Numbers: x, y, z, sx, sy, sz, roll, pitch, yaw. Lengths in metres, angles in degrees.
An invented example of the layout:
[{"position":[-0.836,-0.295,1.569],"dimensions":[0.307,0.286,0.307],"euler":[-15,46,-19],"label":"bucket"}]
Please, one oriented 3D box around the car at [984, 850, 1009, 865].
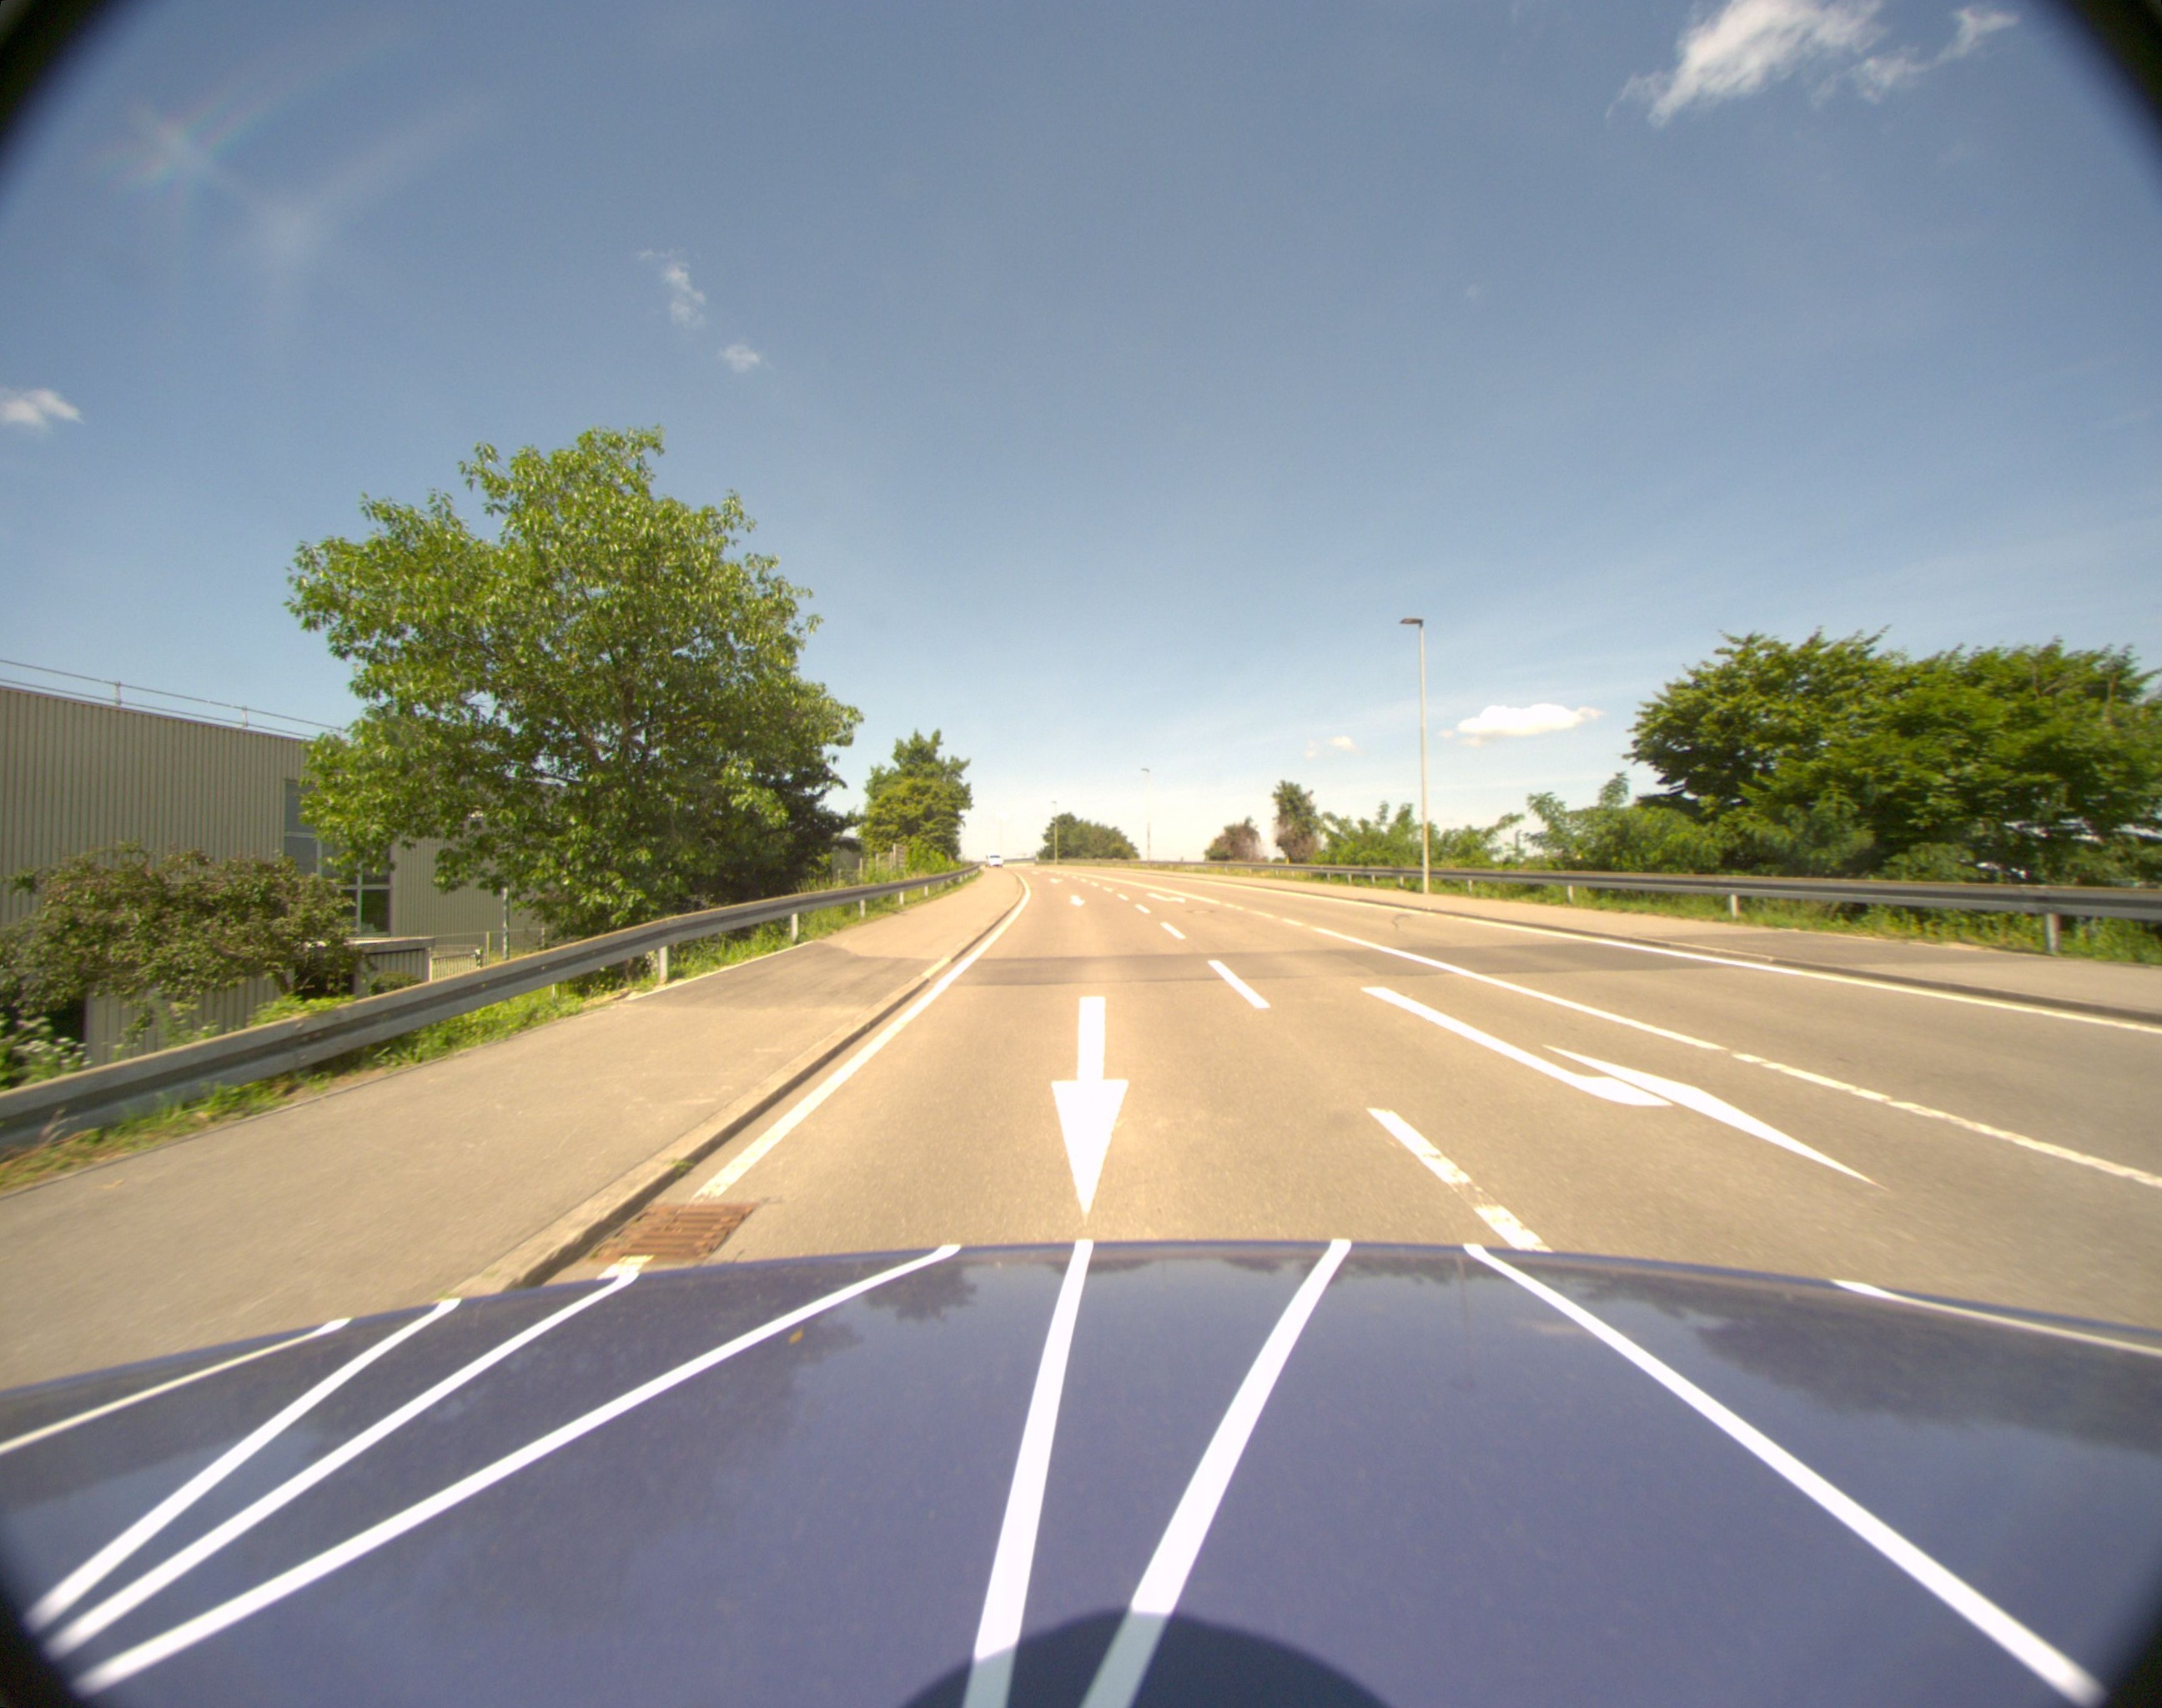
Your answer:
[{"position":[-11.261,0.459,101.073],"dimensions":[2.096,1.750,4.276],"euler":[-3,0,-22],"label":"car"}]
